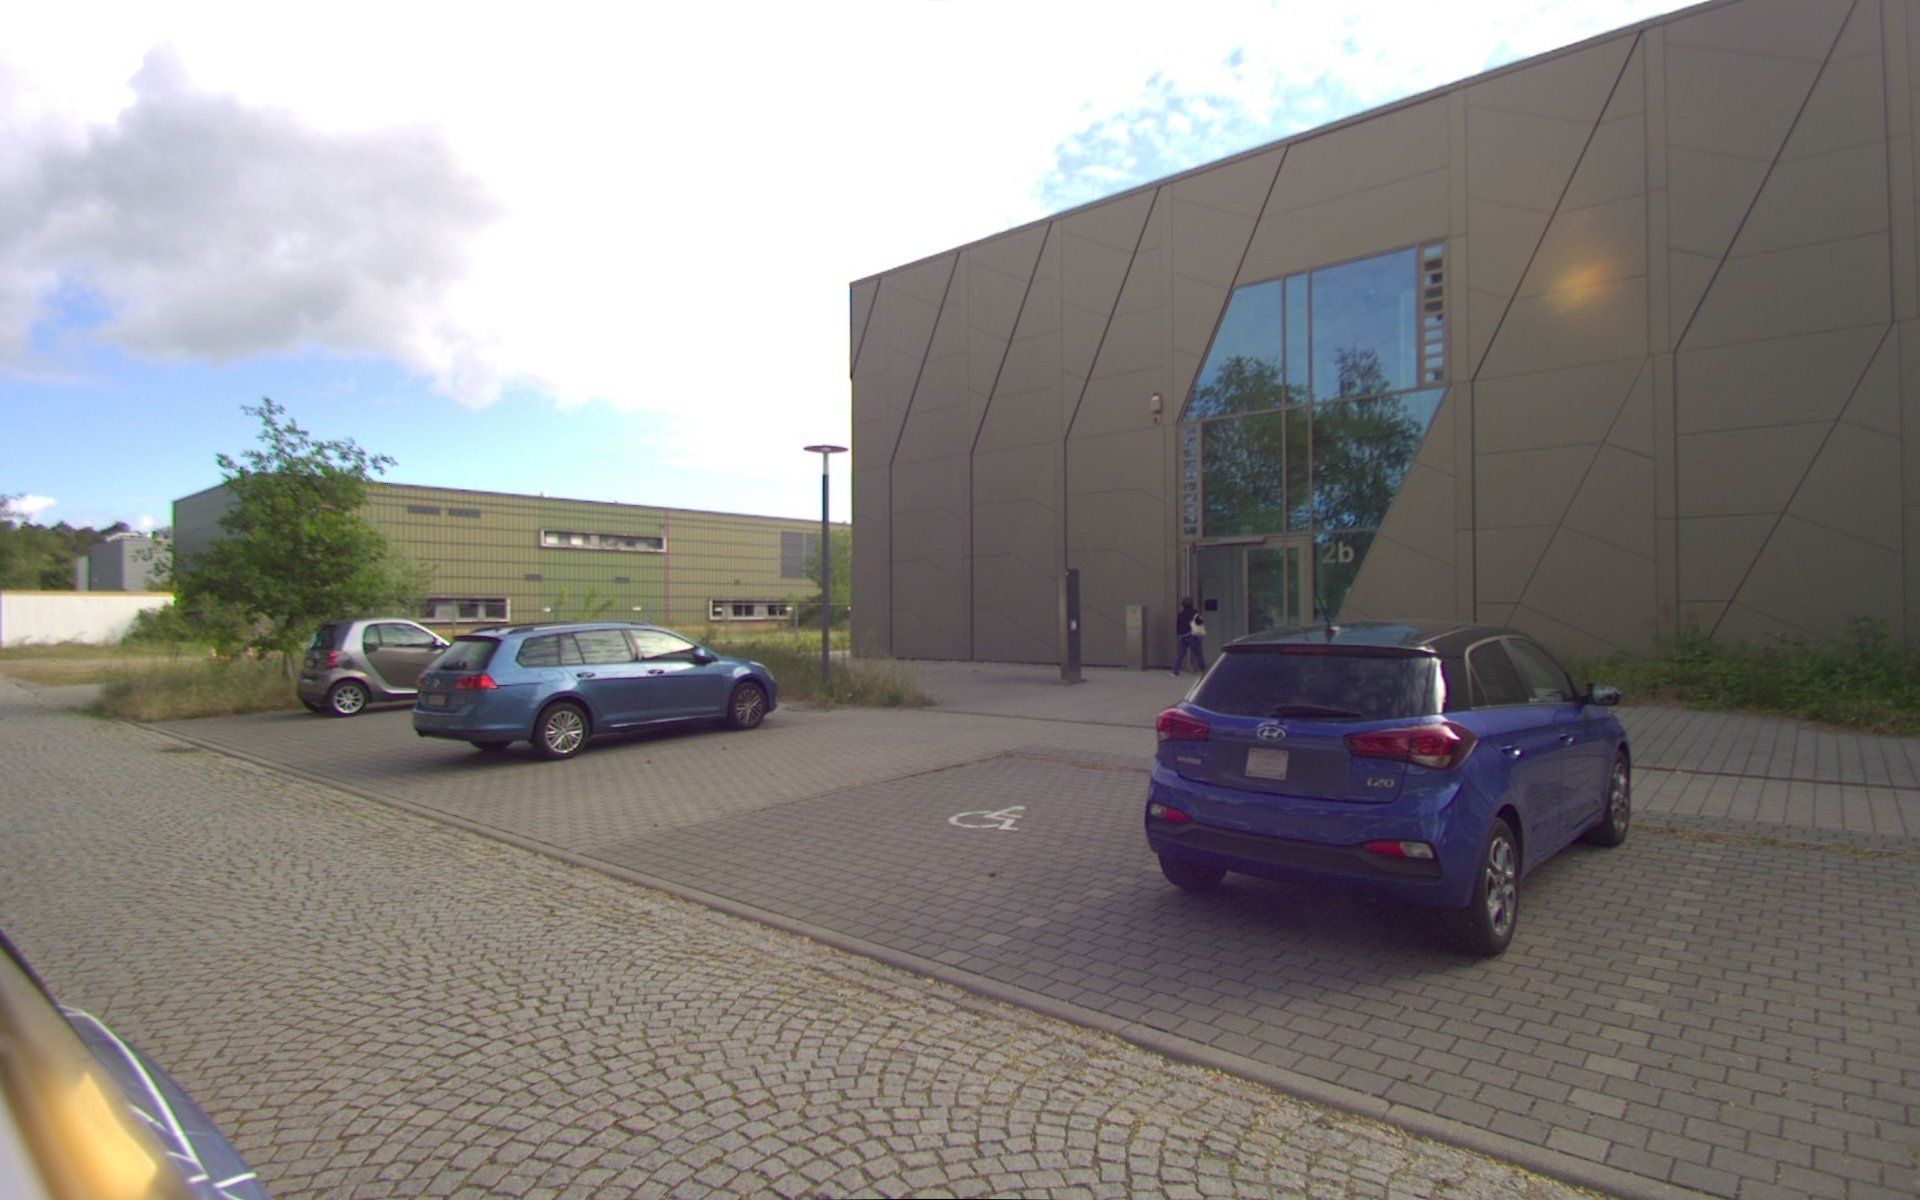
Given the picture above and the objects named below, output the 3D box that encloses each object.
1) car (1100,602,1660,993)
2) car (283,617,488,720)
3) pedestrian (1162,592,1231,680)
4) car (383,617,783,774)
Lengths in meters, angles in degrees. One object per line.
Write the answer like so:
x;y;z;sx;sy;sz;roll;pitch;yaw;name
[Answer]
2.699;0.809;6.034;1.852;1.489;3.724;-2;0;44;car
-9.740;1.093;17.239;1.609;1.522;2.627;-2;0;40;car
4.312;0.633;18.457;0.818;1.506;0.973;-1;2;40;pedestrian
-4.354;0.996;12.297;1.771;1.439;4.265;-2;0;38;car
